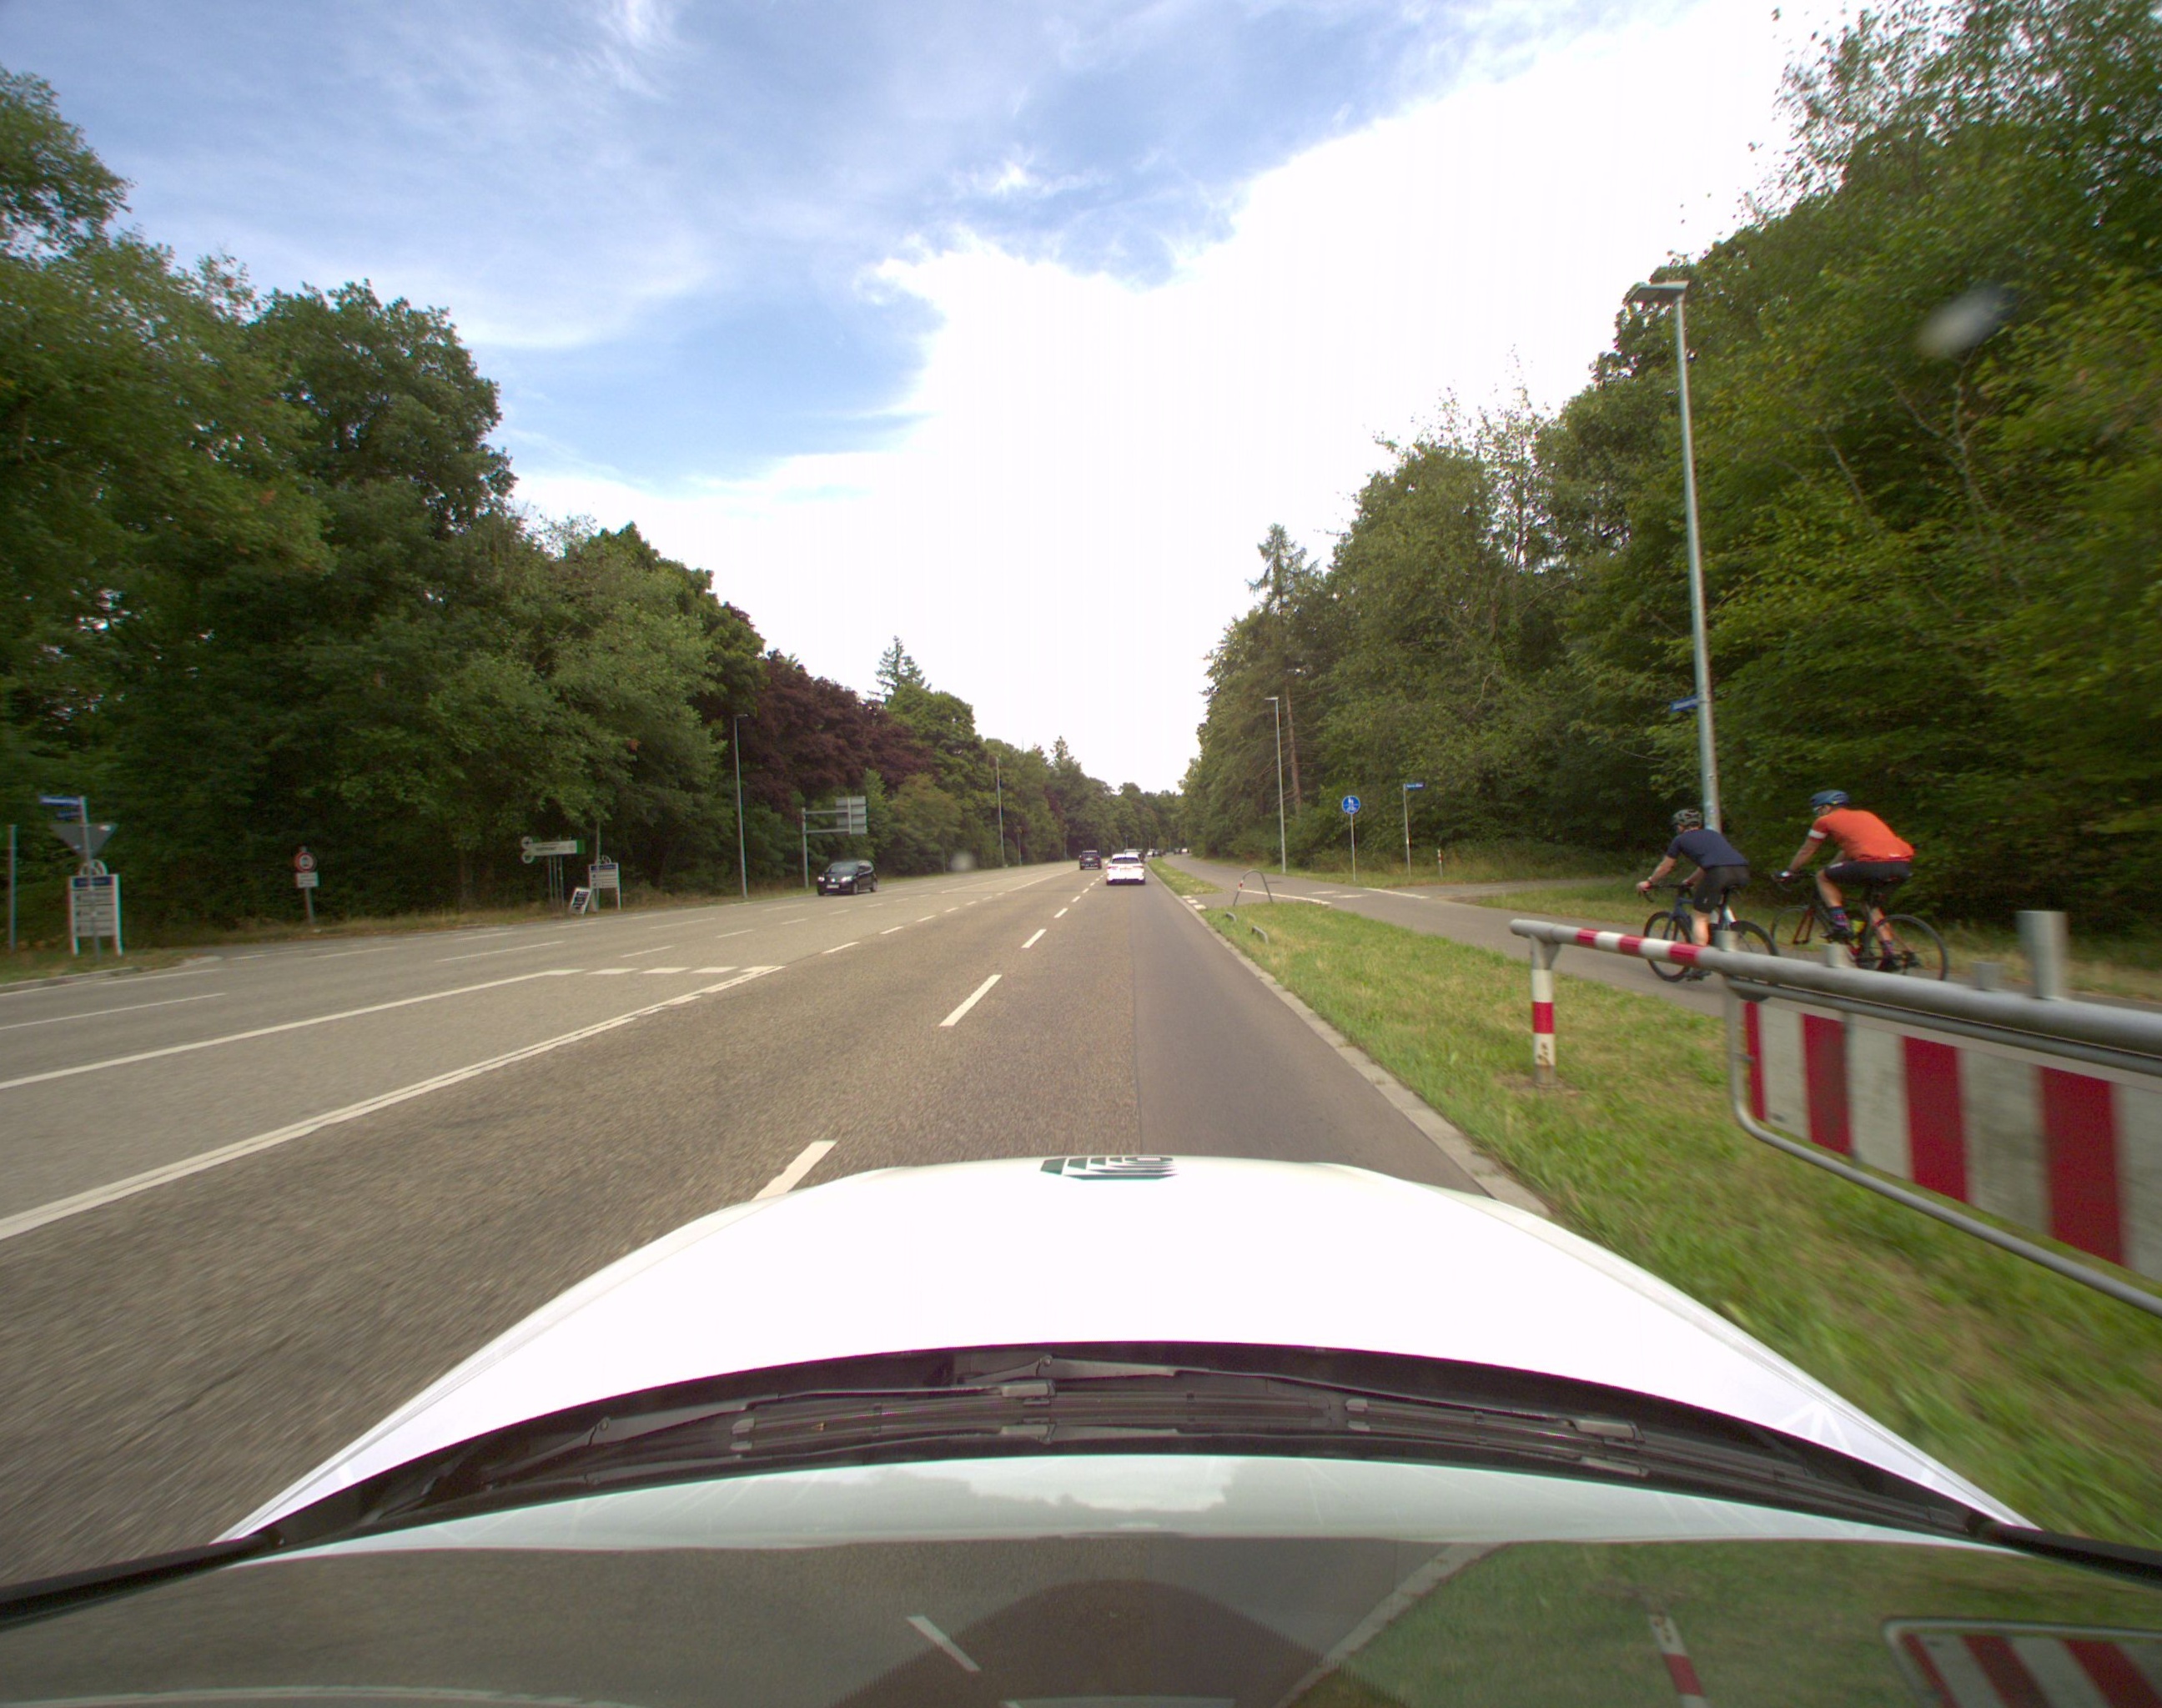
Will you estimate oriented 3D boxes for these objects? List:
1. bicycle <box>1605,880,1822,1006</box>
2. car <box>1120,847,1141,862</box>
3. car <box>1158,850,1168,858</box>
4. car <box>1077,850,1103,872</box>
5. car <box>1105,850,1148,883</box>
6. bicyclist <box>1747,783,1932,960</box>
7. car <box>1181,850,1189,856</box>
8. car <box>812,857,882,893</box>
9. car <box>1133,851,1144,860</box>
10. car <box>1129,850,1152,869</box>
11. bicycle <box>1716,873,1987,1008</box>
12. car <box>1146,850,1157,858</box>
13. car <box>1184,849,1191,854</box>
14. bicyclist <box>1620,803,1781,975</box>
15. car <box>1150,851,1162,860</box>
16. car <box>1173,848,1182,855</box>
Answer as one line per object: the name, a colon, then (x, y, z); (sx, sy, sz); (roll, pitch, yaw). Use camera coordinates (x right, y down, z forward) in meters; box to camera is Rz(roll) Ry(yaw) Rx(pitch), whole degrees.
bicycle: (5.555, 0.730, 7.305); (0.563, 0.912, 1.755); (-4, -1, 2)
car: (5.323, 0.078, 88.318); (1.987, 1.607, 4.000); (0, 0, 0)
car: (19.877, 0.018, 196.793); (1.980, 1.783, 4.013); (0, -1, 12)
car: (0.831, 0.614, 70.958); (1.984, 1.786, 4.006); (0, -1, 5)
car: (2.131, 0.577, 38.300); (1.829, 1.410, 4.494); (-2, -1, 3)
bicyclist: (6.565, 0.148, 7.124); (0.518, 1.415, 1.187); (0, -1, 2)
car: (31.519, -0.181, 246.201); (1.874, 1.816, 4.016); (0, -1, 15)
car: (-10.091, 0.876, 35.420); (1.734, 1.475, 4.003); (0, -1, 3)
car: (11.310, 0.275, 159.460); (1.982, 1.783, 4.008); (0, -1, 8)
car: (4.654, 0.409, 63.354); (1.627, 1.420, 4.006); (0, -1, 5)
bicycle: (6.548, 0.677, 7.087); (0.563, 0.911, 1.888); (-4, 1, 2)
car: (15.499, 0.033, 179.990); (1.981, 1.783, 4.012); (0, -1, 11)
car: (30.217, -0.793, 231.672); (1.982, 1.409, 4.009); (0, -1, 8)
bicyclist: (5.534, 0.295, 7.350); (0.518, 1.415, 1.187); (-2, -1, 2)
car: (14.986, 0.254, 162.286); (1.982, 1.783, 4.010); (0, -1, 9)
car: (24.434, -0.663, 205.983); (1.982, 1.783, 4.008); (0, -1, 8)
